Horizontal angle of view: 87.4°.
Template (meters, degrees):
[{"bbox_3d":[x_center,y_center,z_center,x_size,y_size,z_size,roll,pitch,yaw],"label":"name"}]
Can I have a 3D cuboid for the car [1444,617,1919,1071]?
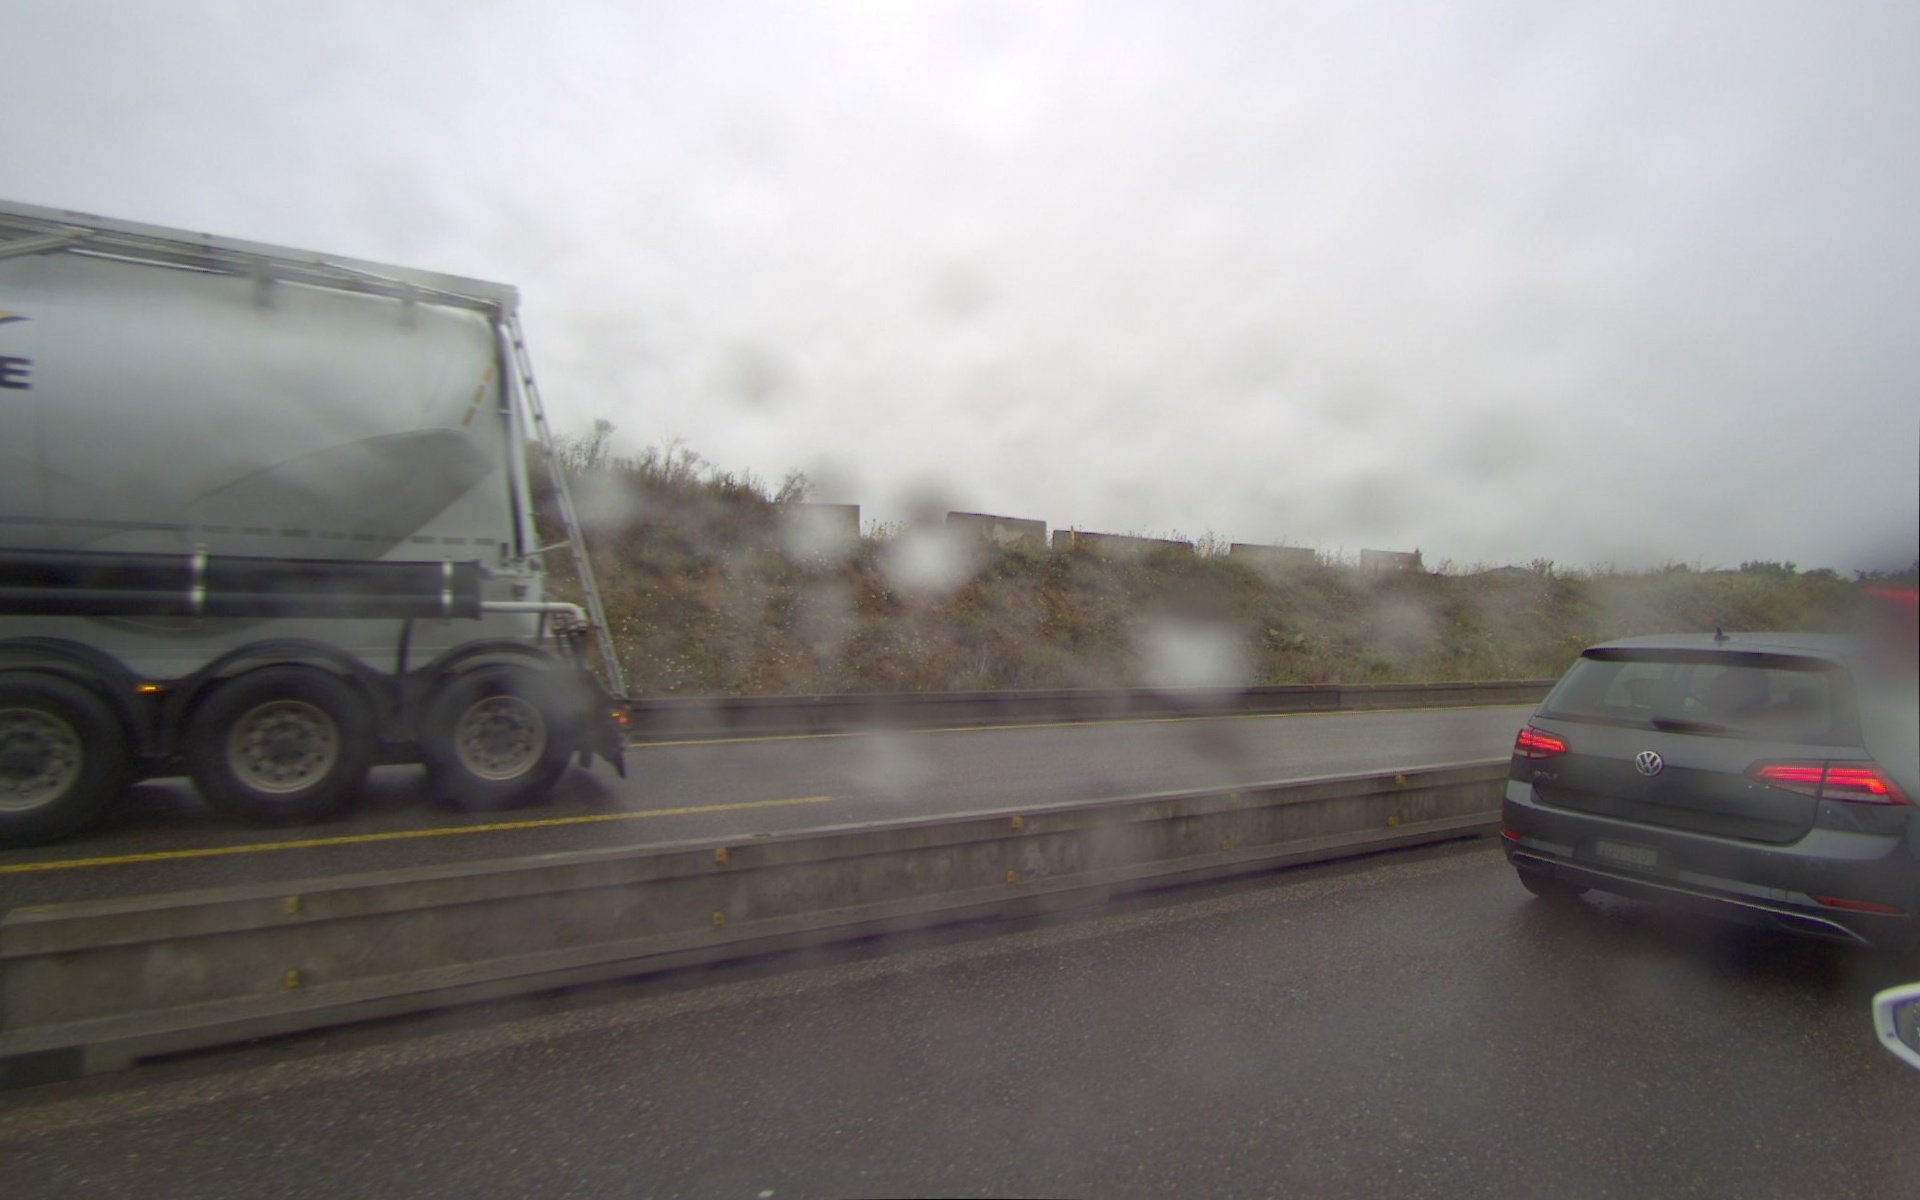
[{"bbox_3d":[4.574,0.912,5.192,4.317,1.526,1.607,2,-3,-30],"label":"car"}]

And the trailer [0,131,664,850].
[{"bbox_3d":[-7.953,-0.660,5.978,11.401,4.016,3.240,2,-1,-30],"label":"trailer"}]
